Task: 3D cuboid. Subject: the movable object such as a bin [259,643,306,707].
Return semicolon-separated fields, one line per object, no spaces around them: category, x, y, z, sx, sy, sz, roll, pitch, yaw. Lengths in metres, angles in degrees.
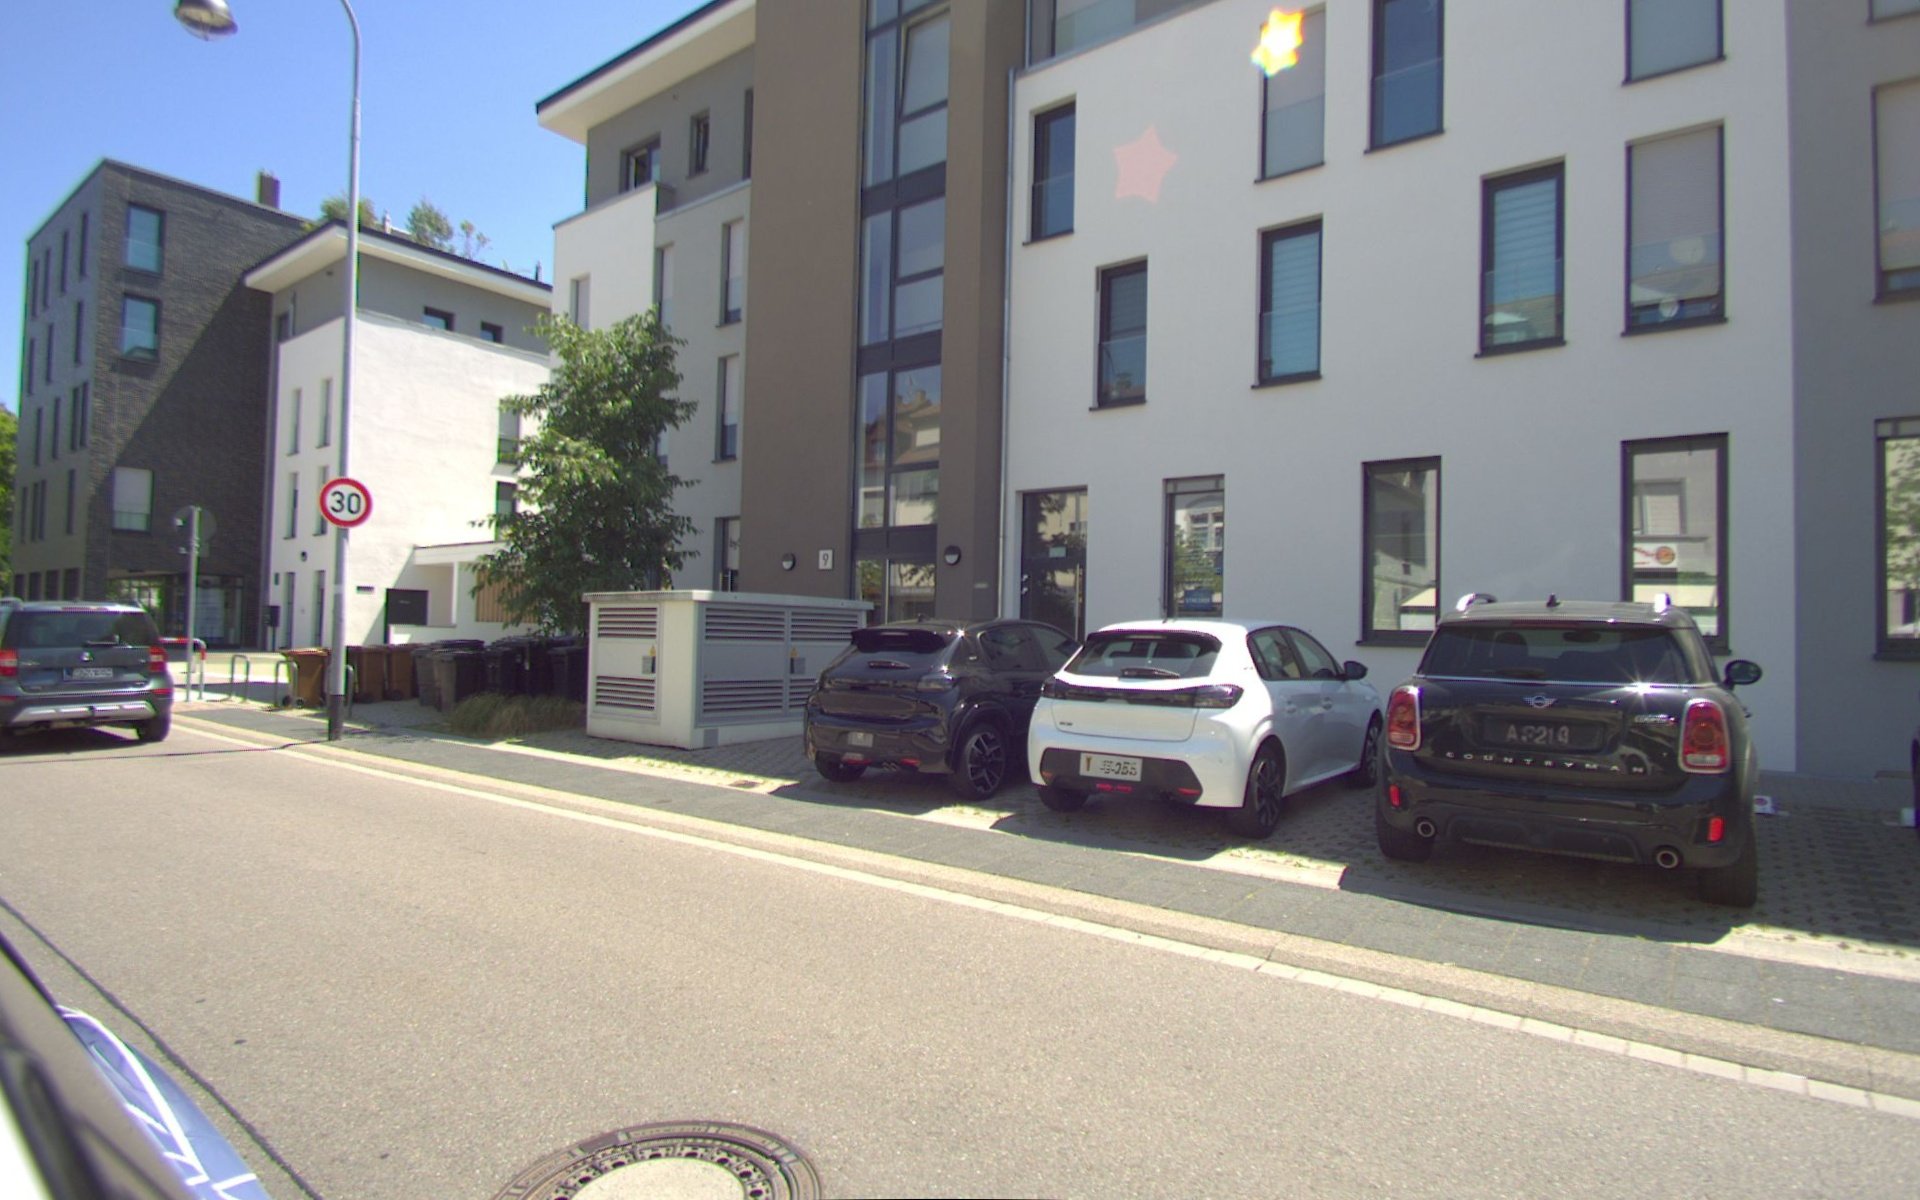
movable object such as a bin;-10.982;1.200;16.410;0.587;1.005;0.478;-1;-2;41

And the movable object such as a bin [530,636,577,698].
movable object such as a bin;-6.980;1.141;17.382;0.478;1.047;0.552;0;-2;20

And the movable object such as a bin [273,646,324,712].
movable object such as a bin;-10.470;1.232;16.029;0.587;1.005;0.478;-1;-2;36

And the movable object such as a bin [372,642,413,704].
movable object such as a bin;-9.636;1.228;17.176;0.555;1.005;0.399;-1;-2;36

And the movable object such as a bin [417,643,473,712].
movable object such as a bin;-7.928;1.183;15.584;0.559;1.028;0.549;0;-2;33

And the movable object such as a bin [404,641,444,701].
movable object such as a bin;-9.334;1.223;17.619;0.555;1.005;0.399;-1;-2;36

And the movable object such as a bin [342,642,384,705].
movable object such as a bin;-9.861;1.199;16.720;0.555;1.005;0.399;-1;-2;36

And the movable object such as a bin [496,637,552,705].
movable object such as a bin;-6.928;1.118;16.086;0.546;1.047;0.573;0;-2;20

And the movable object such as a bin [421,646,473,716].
movable object such as a bin;-7.629;1.193;15.052;0.427;1.005;0.548;-1;-2;39

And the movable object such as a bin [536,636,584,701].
movable object such as a bin;-6.601;1.123;16.714;0.478;1.047;0.552;0;-2;20

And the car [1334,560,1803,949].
car;4.114;0.690;6.524;1.998;1.664;3.991;-1;-1;40

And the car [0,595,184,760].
car;-11.180;0.838;12.262;4.069;1.714;1.794;-1;-2;37

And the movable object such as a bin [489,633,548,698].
movable object such as a bin;-7.793;1.140;17.866;0.643;1.104;0.689;0;-2;20

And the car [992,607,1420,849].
car;2.184;0.783;8.142;1.907;1.432;3.949;0;-1;38

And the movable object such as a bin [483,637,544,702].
movable object such as a bin;-7.358;1.132;16.691;0.600;1.047;0.673;0;-2;20

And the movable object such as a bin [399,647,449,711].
movable object such as a bin;-8.583;1.256;16.206;0.402;1.006;0.551;0;-3;24

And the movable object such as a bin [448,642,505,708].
movable object such as a bin;-8.021;1.235;16.802;0.578;1.047;0.617;0;-2;20

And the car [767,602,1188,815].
car;0.362;0.809;9.518;1.997;1.527;3.949;1;0;38

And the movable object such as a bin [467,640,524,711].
movable object such as a bin;-7.129;1.143;15.532;0.541;1.047;0.552;0;-2;20

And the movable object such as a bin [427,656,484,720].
movable object such as a bin;-7.270;1.253;14.592;0.478;0.874;0.552;0;-2;20

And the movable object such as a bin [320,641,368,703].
movable object such as a bin;-10.402;1.208;17.093;0.587;1.005;0.478;-1;-2;37

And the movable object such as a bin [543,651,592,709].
movable object such as a bin;-6.225;1.264;16.064;0.478;0.874;0.552;0;-2;20

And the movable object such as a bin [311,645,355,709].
movable object such as a bin;-10.166;1.232;16.407;0.555;1.005;0.399;-1;-2;36

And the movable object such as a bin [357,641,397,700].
movable object such as a bin;-10.105;1.213;17.542;0.523;1.005;0.420;-1;-2;37
